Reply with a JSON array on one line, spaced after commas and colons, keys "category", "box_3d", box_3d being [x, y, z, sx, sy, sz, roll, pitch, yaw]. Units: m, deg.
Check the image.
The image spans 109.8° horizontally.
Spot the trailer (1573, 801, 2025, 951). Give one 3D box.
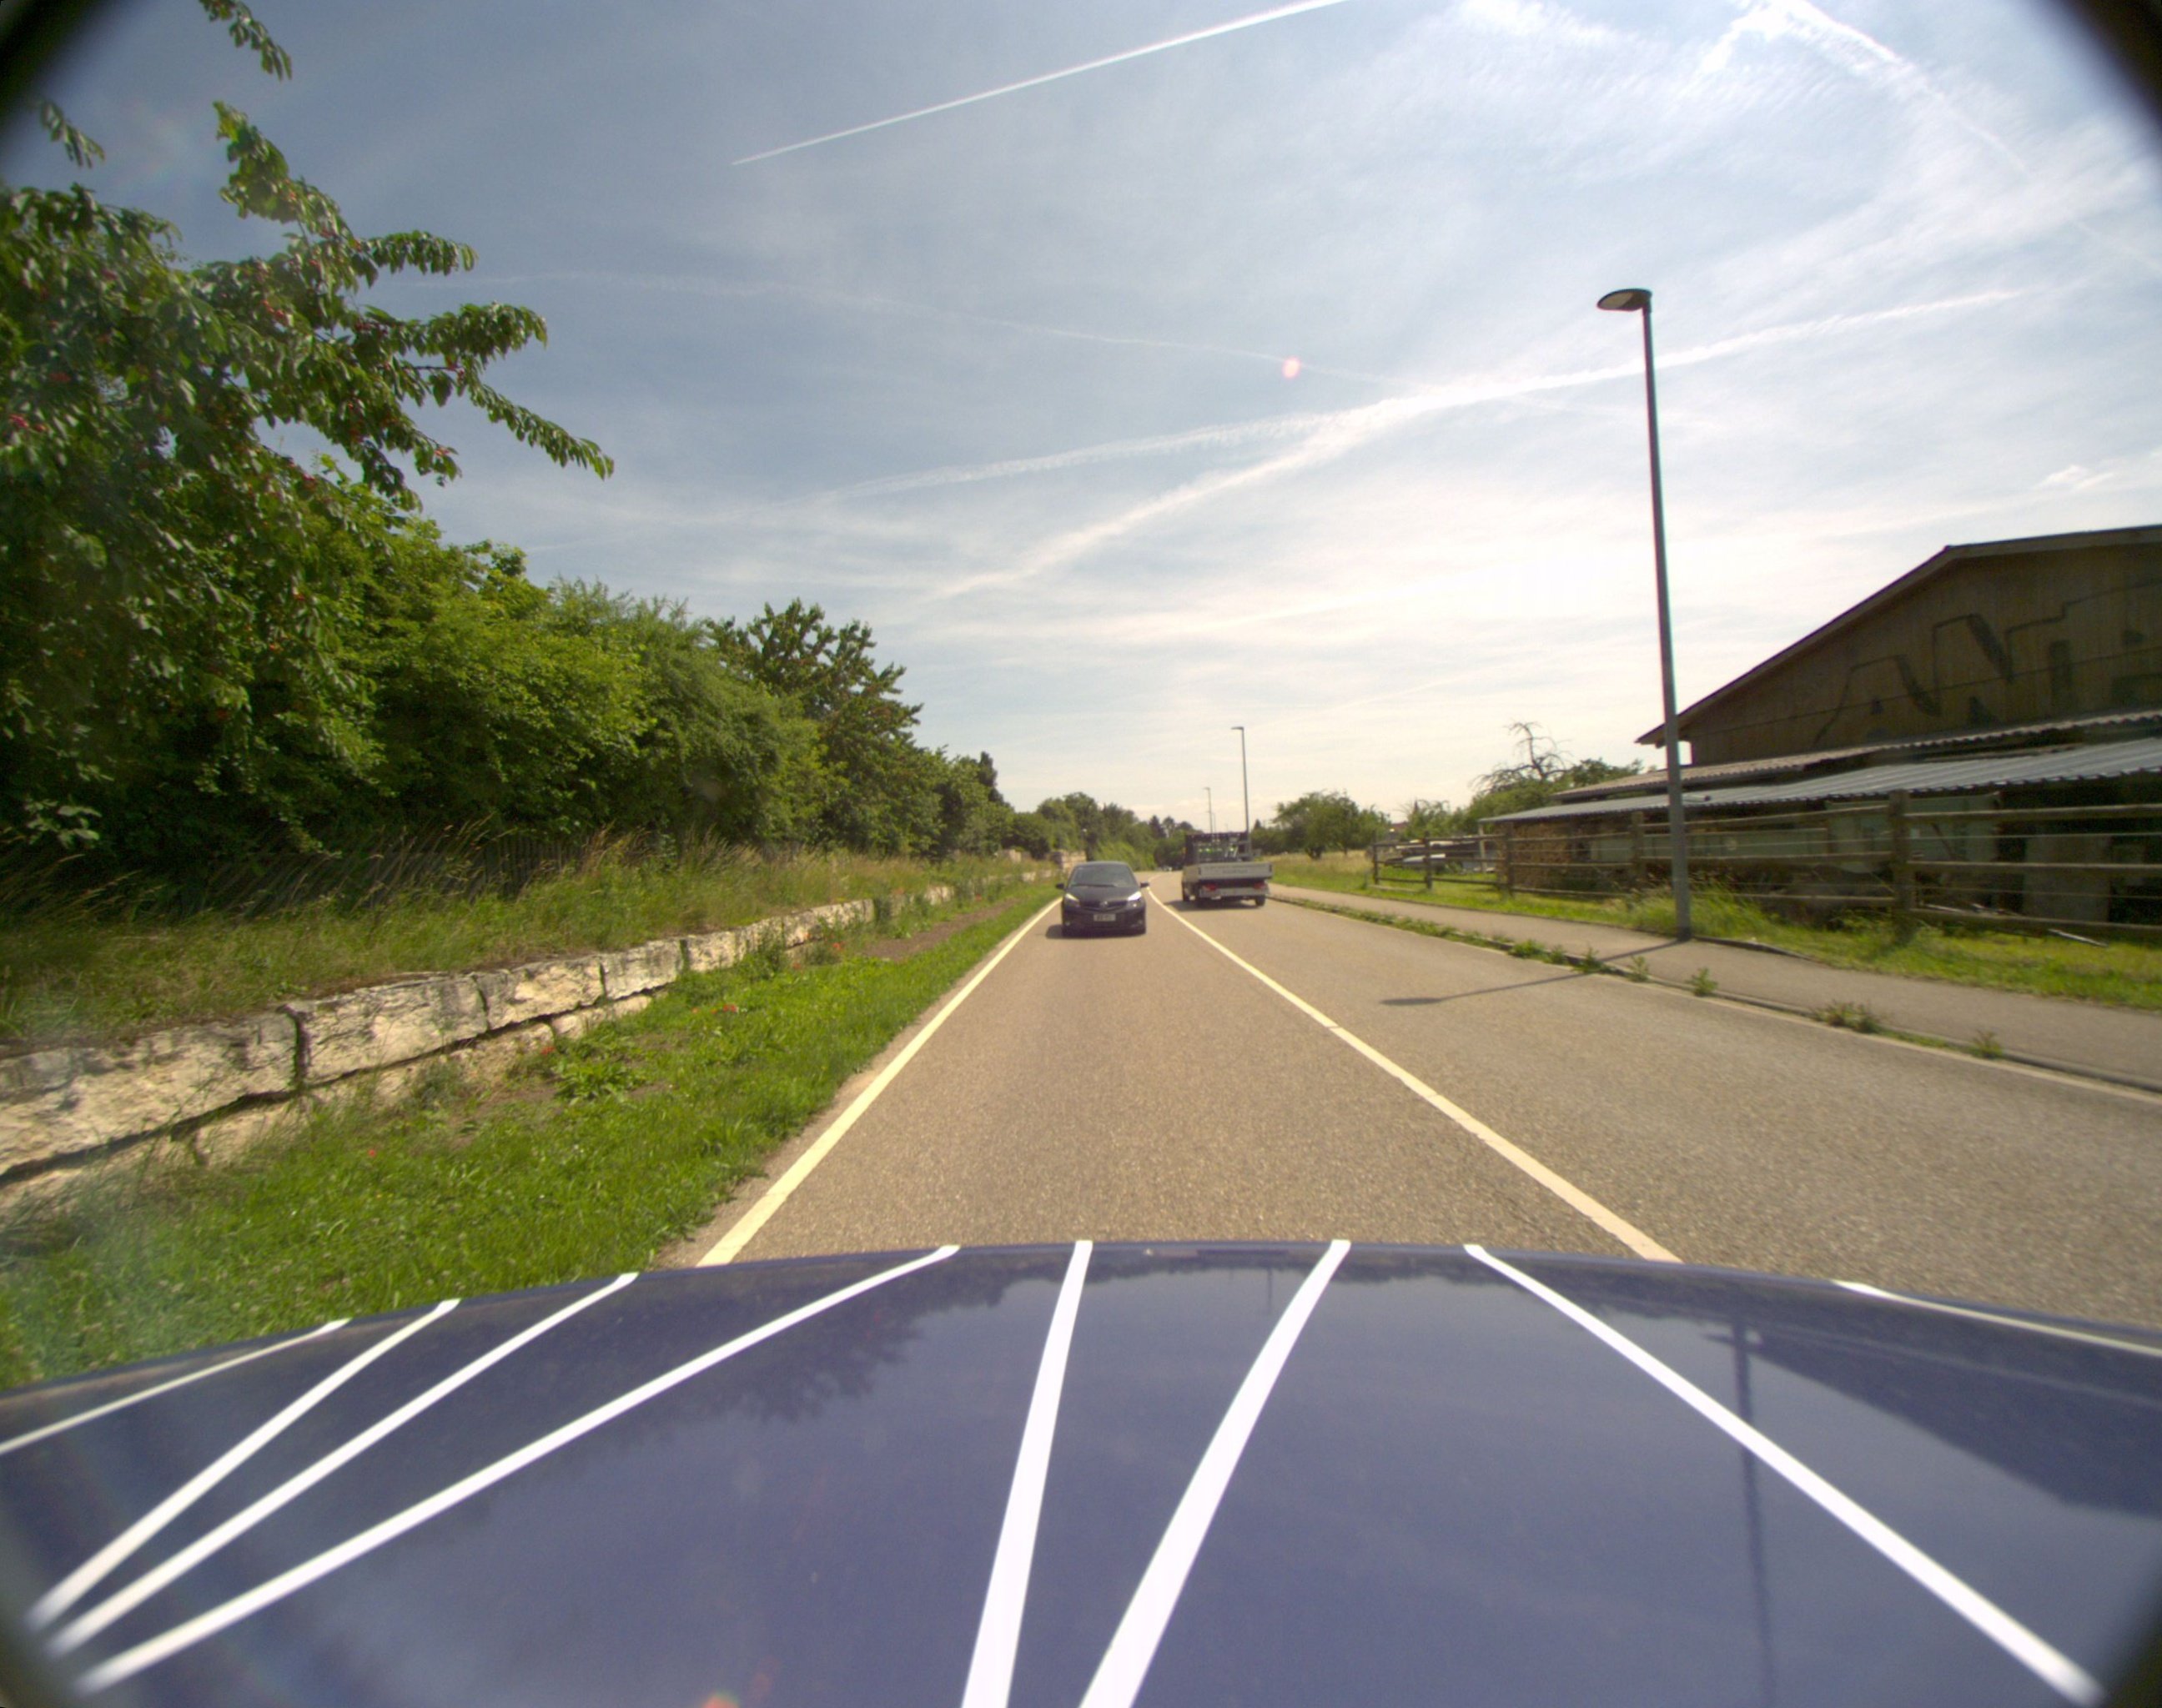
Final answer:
[{"category": "trailer", "box_3d": [10.186, 0.270, 11.575, 2.160, 1.693, 5.029, -2, 0, 1]}]

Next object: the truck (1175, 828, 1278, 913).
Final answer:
[{"category": "truck", "box_3d": [4.427, 0.450, 24.319, 2.227, 2.280, 6.492, -2, 0, 2]}]

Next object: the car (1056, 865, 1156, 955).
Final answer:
[{"category": "car", "box_3d": [0.495, 1.005, 15.320, 1.677, 1.456, 4.433, -2, 0, 2]}]
